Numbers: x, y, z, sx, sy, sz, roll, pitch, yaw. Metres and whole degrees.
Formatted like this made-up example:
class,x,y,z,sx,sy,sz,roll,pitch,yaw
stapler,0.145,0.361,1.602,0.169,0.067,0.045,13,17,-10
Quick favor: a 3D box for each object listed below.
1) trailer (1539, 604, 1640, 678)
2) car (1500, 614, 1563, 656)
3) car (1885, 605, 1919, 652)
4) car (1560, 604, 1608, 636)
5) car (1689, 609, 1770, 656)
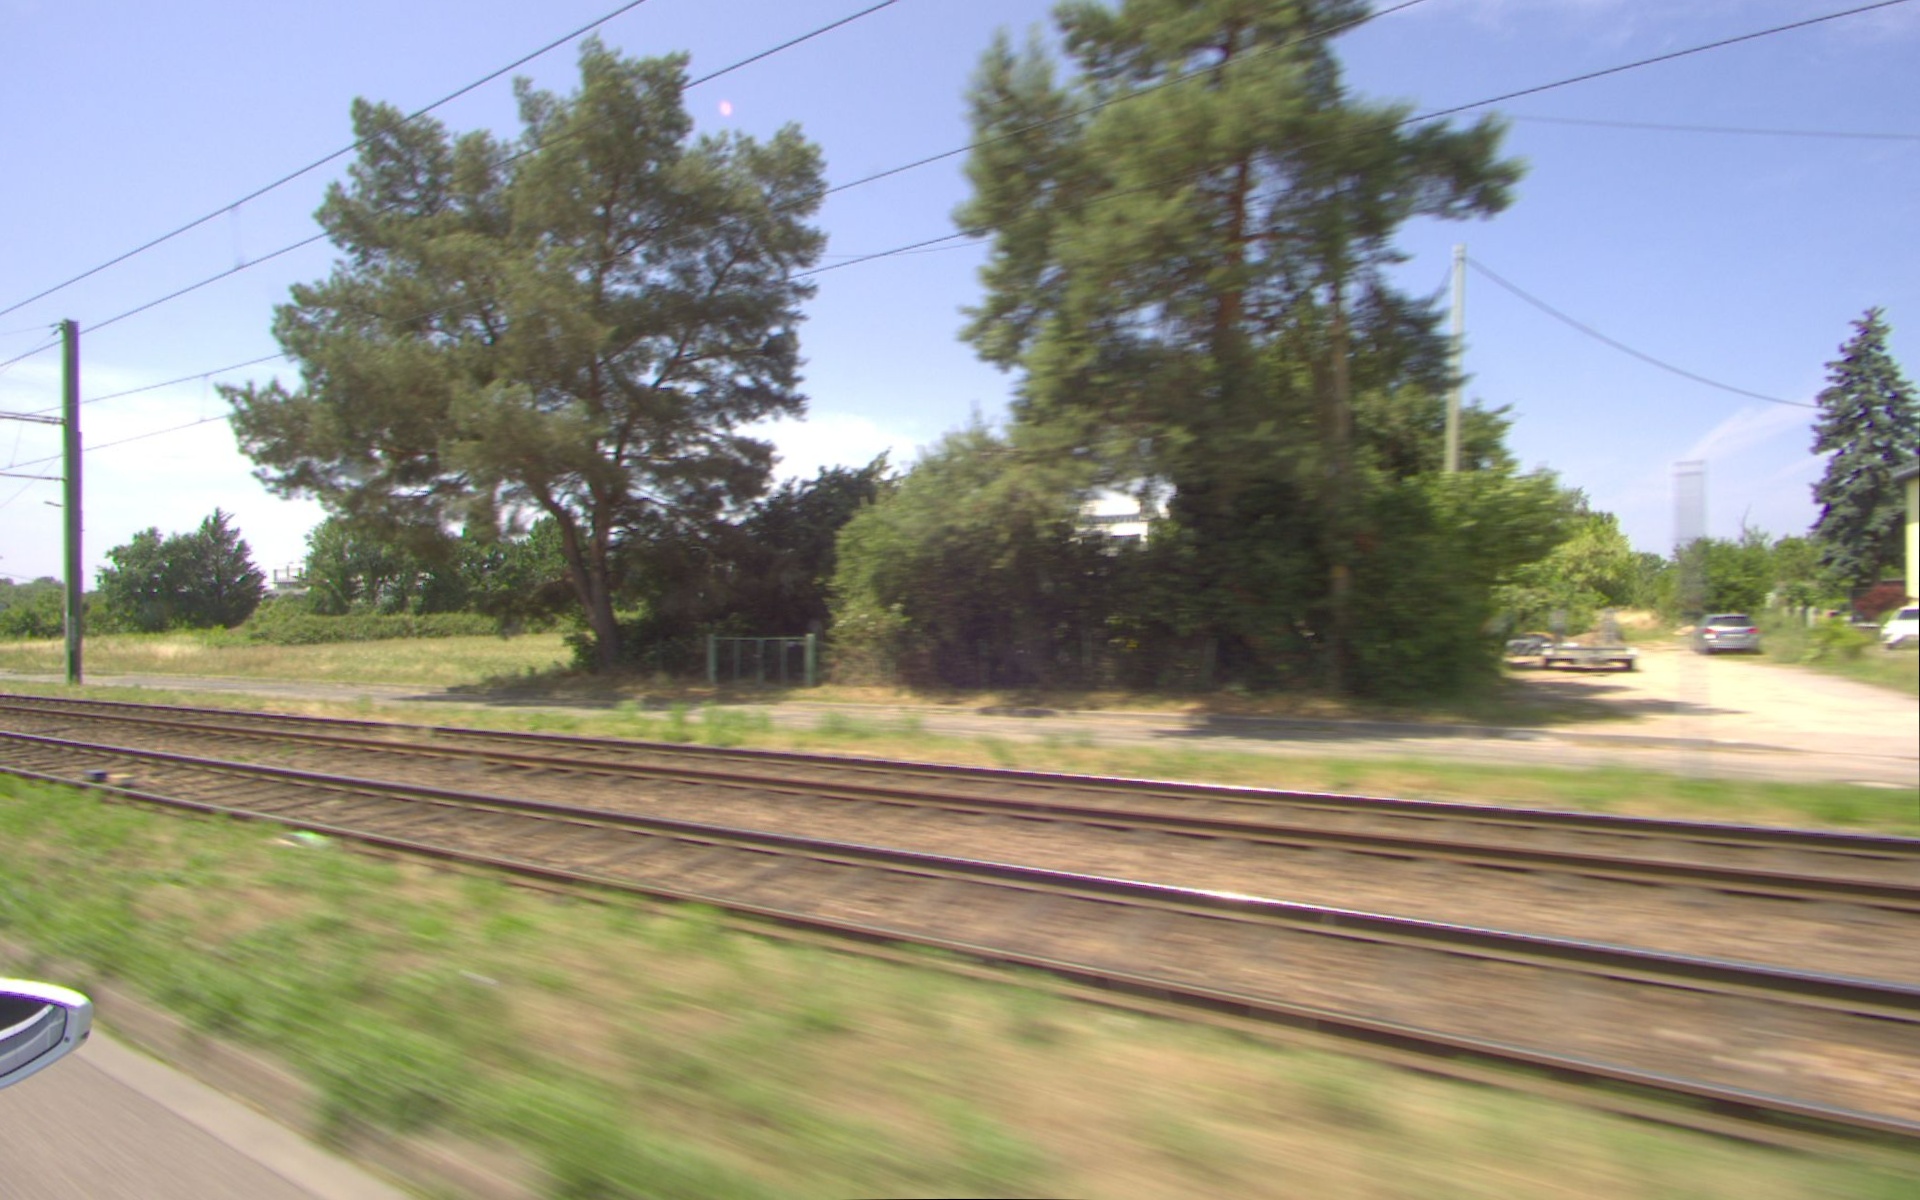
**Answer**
class,x,y,z,sx,sy,sz,roll,pitch,yaw
trailer,17.391,1.074,27.652,2.133,1.830,5.109,-2,-1,33
car,23.123,1.379,40.522,2.090,1.551,4.188,-2,-1,30
car,34.685,0.982,36.201,1.762,1.607,3.965,-2,-1,43
car,30.536,0.952,49.076,1.777,1.438,4.313,-2,-1,29
car,28.152,1.170,36.761,1.873,1.594,3.980,-2,-1,31
